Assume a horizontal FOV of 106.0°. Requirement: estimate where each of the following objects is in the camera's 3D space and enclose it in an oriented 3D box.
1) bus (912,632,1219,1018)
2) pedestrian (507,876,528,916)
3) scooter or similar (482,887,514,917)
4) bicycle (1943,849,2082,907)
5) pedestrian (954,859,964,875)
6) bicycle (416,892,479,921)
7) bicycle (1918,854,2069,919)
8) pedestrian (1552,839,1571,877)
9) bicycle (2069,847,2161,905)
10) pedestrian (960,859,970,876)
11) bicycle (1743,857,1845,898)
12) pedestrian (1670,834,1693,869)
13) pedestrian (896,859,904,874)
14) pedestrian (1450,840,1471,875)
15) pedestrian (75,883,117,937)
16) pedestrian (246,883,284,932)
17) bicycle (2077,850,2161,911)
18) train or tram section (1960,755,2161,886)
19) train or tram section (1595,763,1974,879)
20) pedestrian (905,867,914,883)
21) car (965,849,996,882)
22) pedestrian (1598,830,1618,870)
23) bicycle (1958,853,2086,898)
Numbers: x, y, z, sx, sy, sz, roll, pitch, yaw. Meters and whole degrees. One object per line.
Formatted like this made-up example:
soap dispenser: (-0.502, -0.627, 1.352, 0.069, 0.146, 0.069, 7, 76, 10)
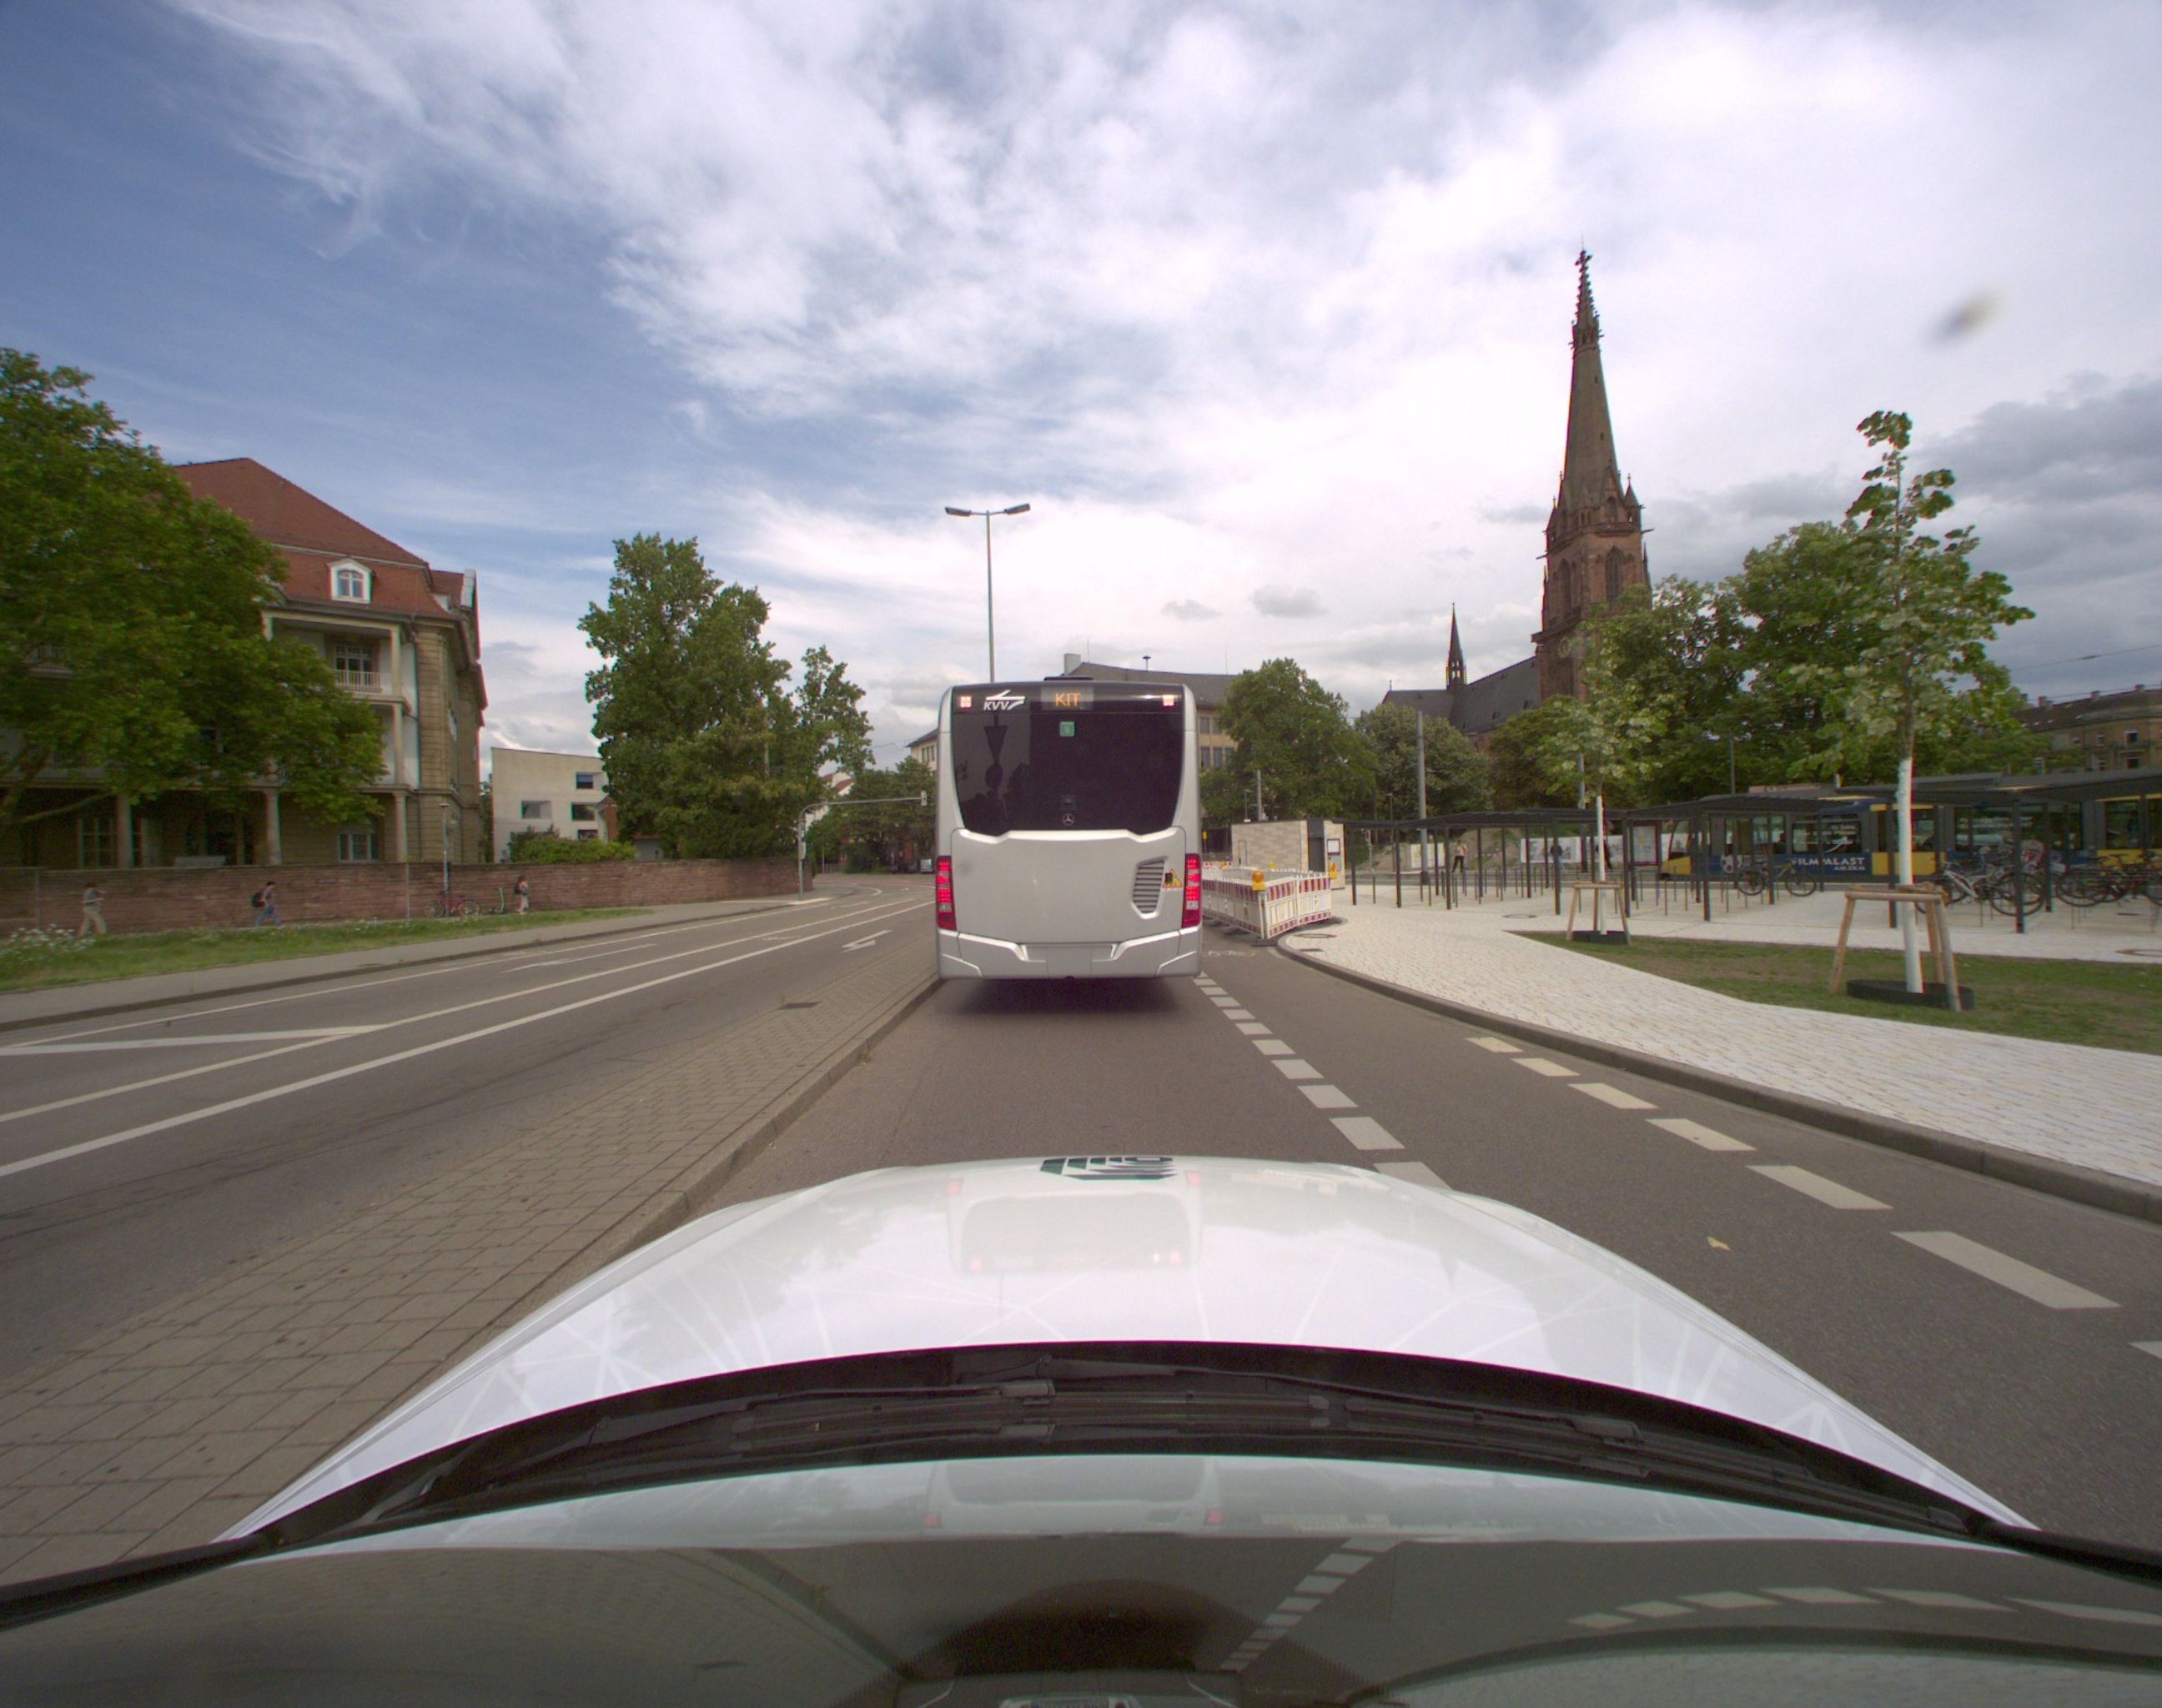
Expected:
bus: (-0.328, -0.168, 14.454, 2.697, 3.438, 14.172, -1, -1, -2)
pedestrian: (-24.030, 1.774, 34.726, 0.633, 1.654, 0.526, -3, 2, -37)
scooter or similar: (-24.731, 2.023, 34.568, 0.519, 1.139, 1.512, -2, 2, -14)
bicycle: (20.065, 0.484, 17.608, 0.587, 1.156, 1.942, -3, 3, -44)
pedestrian: (-14.837, 1.574, 99.369, 0.892, 2.013, 1.000, -1, 0, -26)
bicycle: (-25.829, 2.128, 33.219, 1.937, 1.005, 0.770, -3, 3, -43)
bicycle: (17.805, 0.604, 15.960, 0.587, 1.156, 1.942, -3, 3, -44)
pedestrian: (23.040, 0.173, 39.063, 0.526, 1.800, 0.670, -3, 2, -42)
bicycle: (22.174, 0.449, 16.982, 0.587, 1.156, 1.942, -3, 3, -44)
pedestrian: (-13.732, 1.568, 96.299, 0.892, 2.013, 1.000, -1, 0, -26)
bicycle: (18.722, 0.594, 21.418, 0.587, 0.955, 1.944, -3, 2, -38)
pedestrian: (26.057, -0.105, 35.321, 0.694, 1.485, 0.670, -3, 2, -42)
pedestrian: (-25.407, 1.790, 114.473, 0.892, 2.013, 1.000, -1, 0, -26)
pedestrian: (20.256, 0.184, 43.459, 0.816, 1.800, 0.754, -1, 2, 11)
pedestrian: (-32.115, 1.819, 26.545, 0.570, 1.654, 0.787, 0, 2, 38)
pedestrian: (-28.678, 1.863, 28.628, 0.570, 1.654, 0.787, 0, 2, 33)
bicycle: (21.116, 0.514, 15.970, 0.587, 1.156, 1.942, -3, 3, -44)
train or tram section: (28.581, -0.869, 19.926, 3.076, 3.212, 9.329, -3, 2, -35)
train or tram section: (23.154, -1.056, 27.581, 3.076, 3.276, 9.269, -3, 2, -35)
pedestrian: (-23.334, 2.847, 110.724, 0.892, 2.013, 1.000, -1, 0, -26)
car: (-6.920, 0.757, 56.236, 1.992, 2.013, 3.991, -2, 2, -7)
pedestrian: (24.281, -0.183, 37.521, 0.526, 1.800, 0.670, -3, 2, -42)
bicycle: (21.992, 0.472, 19.078, 0.587, 0.970, 1.944, -3, 2, -38)
